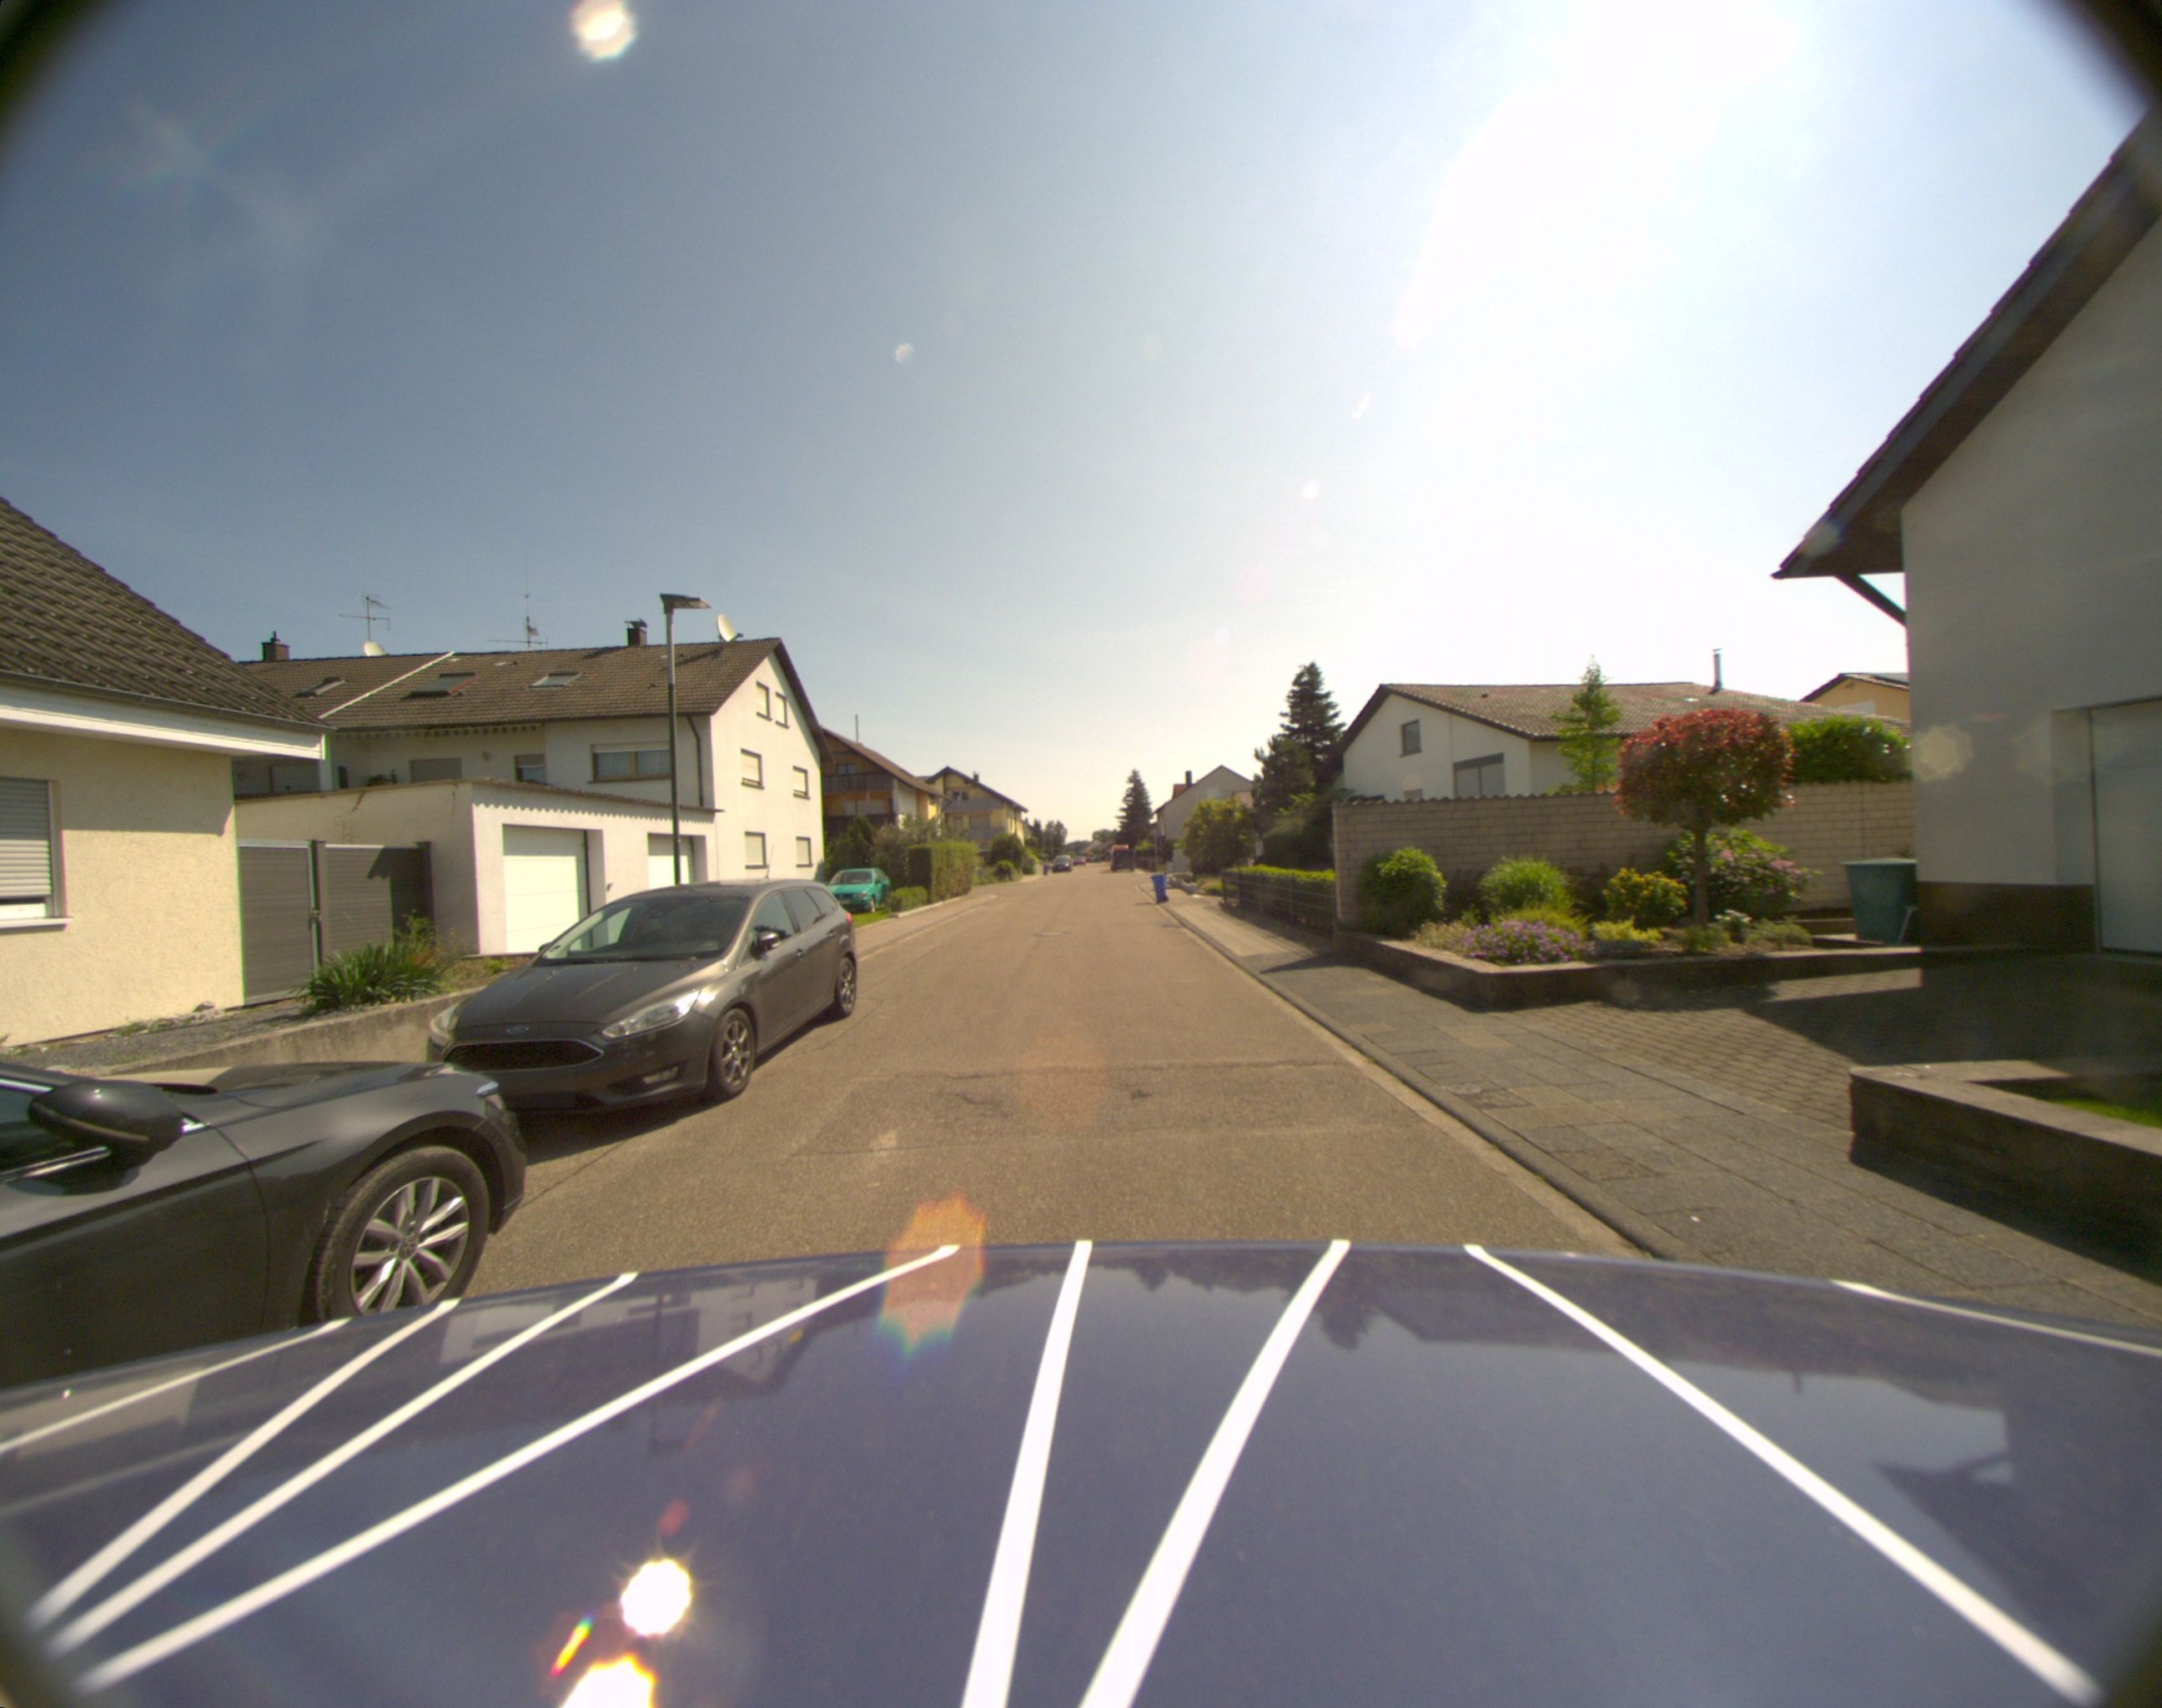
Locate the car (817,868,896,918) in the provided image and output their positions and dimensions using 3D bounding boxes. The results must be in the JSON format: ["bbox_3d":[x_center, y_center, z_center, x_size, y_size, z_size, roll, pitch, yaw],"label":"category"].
[{"bbox_3d":[-7.097,1.194,24.338,1.498,1.351,3.526,-3,0,-1],"label":"car"}]

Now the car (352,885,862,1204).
[{"bbox_3d":[-3.215,1.147,6.250,1.646,1.470,3.999,-4,1,-1],"label":"car"}]

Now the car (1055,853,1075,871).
[{"bbox_3d":[-1.635,0.810,76.813,1.632,1.616,4.001,-3,0,3],"label":"car"}]

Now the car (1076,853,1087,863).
[{"bbox_3d":[0.091,0.593,119.001,1.517,1.398,3.677,-4,0,-1],"label":"car"}]

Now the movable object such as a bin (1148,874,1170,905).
[{"bbox_3d":[2.433,1.106,23.832,0.584,0.911,0.598,-4,1,0],"label":"movable object such as a bin"}]

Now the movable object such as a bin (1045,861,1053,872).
[{"bbox_3d":[-2.824,1.125,67.484,0.584,0.911,0.598,-4,1,0],"label":"movable object such as a bin"}]

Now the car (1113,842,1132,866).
[{"bbox_3d":[4.168,0.019,76.449,1.555,2.310,4.204,-3,0,1],"label":"car"}]

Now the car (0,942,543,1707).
[{"bbox_3d":[-3.127,1.125,0.837,1.721,1.430,4.503,-3,0,1],"label":"car"}]

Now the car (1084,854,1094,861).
[{"bbox_3d":[1.883,0.813,182.478,1.710,1.332,3.999,-3,-1,-7],"label":"car"}]

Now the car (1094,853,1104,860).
[{"bbox_3d":[4.032,0.540,170.157,1.710,1.332,3.999,-3,-1,-7],"label":"car"}]

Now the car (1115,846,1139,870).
[{"bbox_3d":[4.014,0.335,67.118,1.870,1.927,4.204,-3,0,1],"label":"car"}]
